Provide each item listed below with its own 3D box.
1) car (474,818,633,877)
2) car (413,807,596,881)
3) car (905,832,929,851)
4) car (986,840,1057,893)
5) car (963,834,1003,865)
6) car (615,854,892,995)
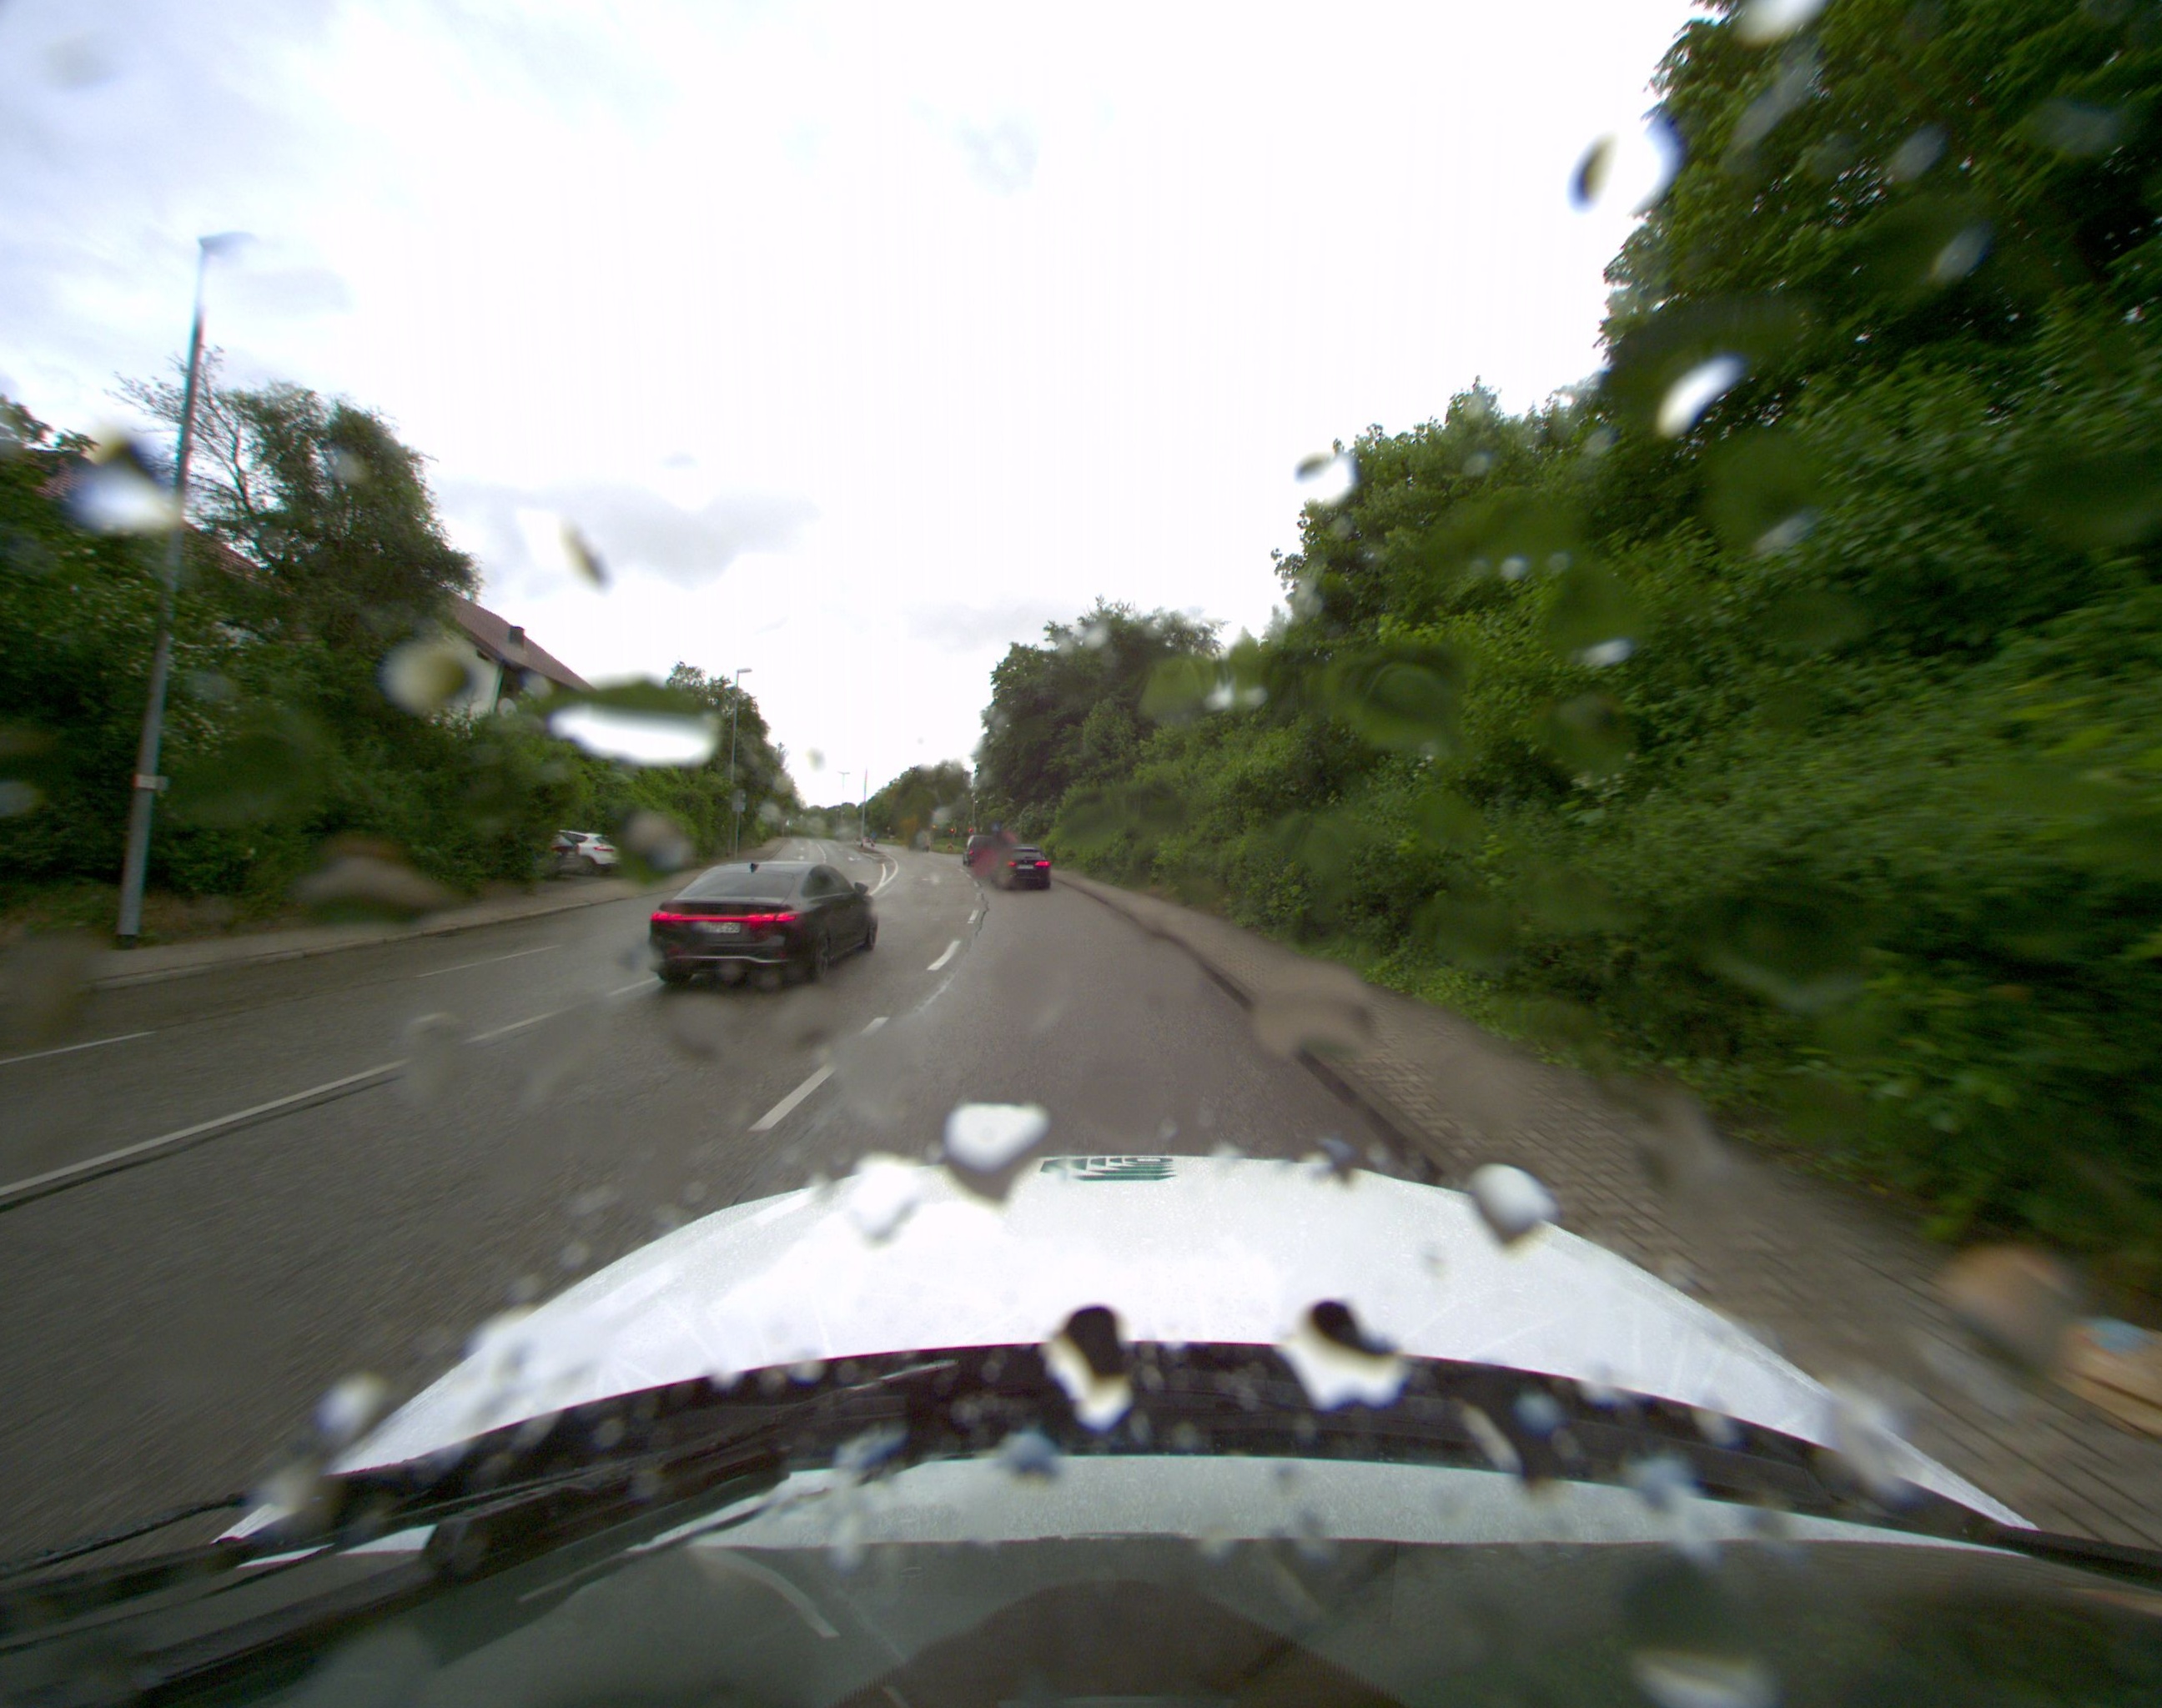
[{"bbox_3d":[-17.759,-0.223,27.623,3.993,1.447,1.847,7,-1,-15],"label":"car"},{"bbox_3d":[-17.615,-0.286,25.090,3.988,1.679,1.849,7,-1,-11],"label":"car"},{"bbox_3d":[-17.037,-1.263,84.560,1.858,1.662,3.972,2,-3,-21],"label":"car"},{"bbox_3d":[-2.183,0.382,28.750,1.994,1.586,4.648,1,2,-10],"label":"car"},{"bbox_3d":[-5.864,-0.283,48.394,1.995,1.748,3.984,0,0,-12],"label":"car"},{"bbox_3d":[-3.970,0.743,10.913,1.901,1.398,4.852,0,1,-2],"label":"car"}]
